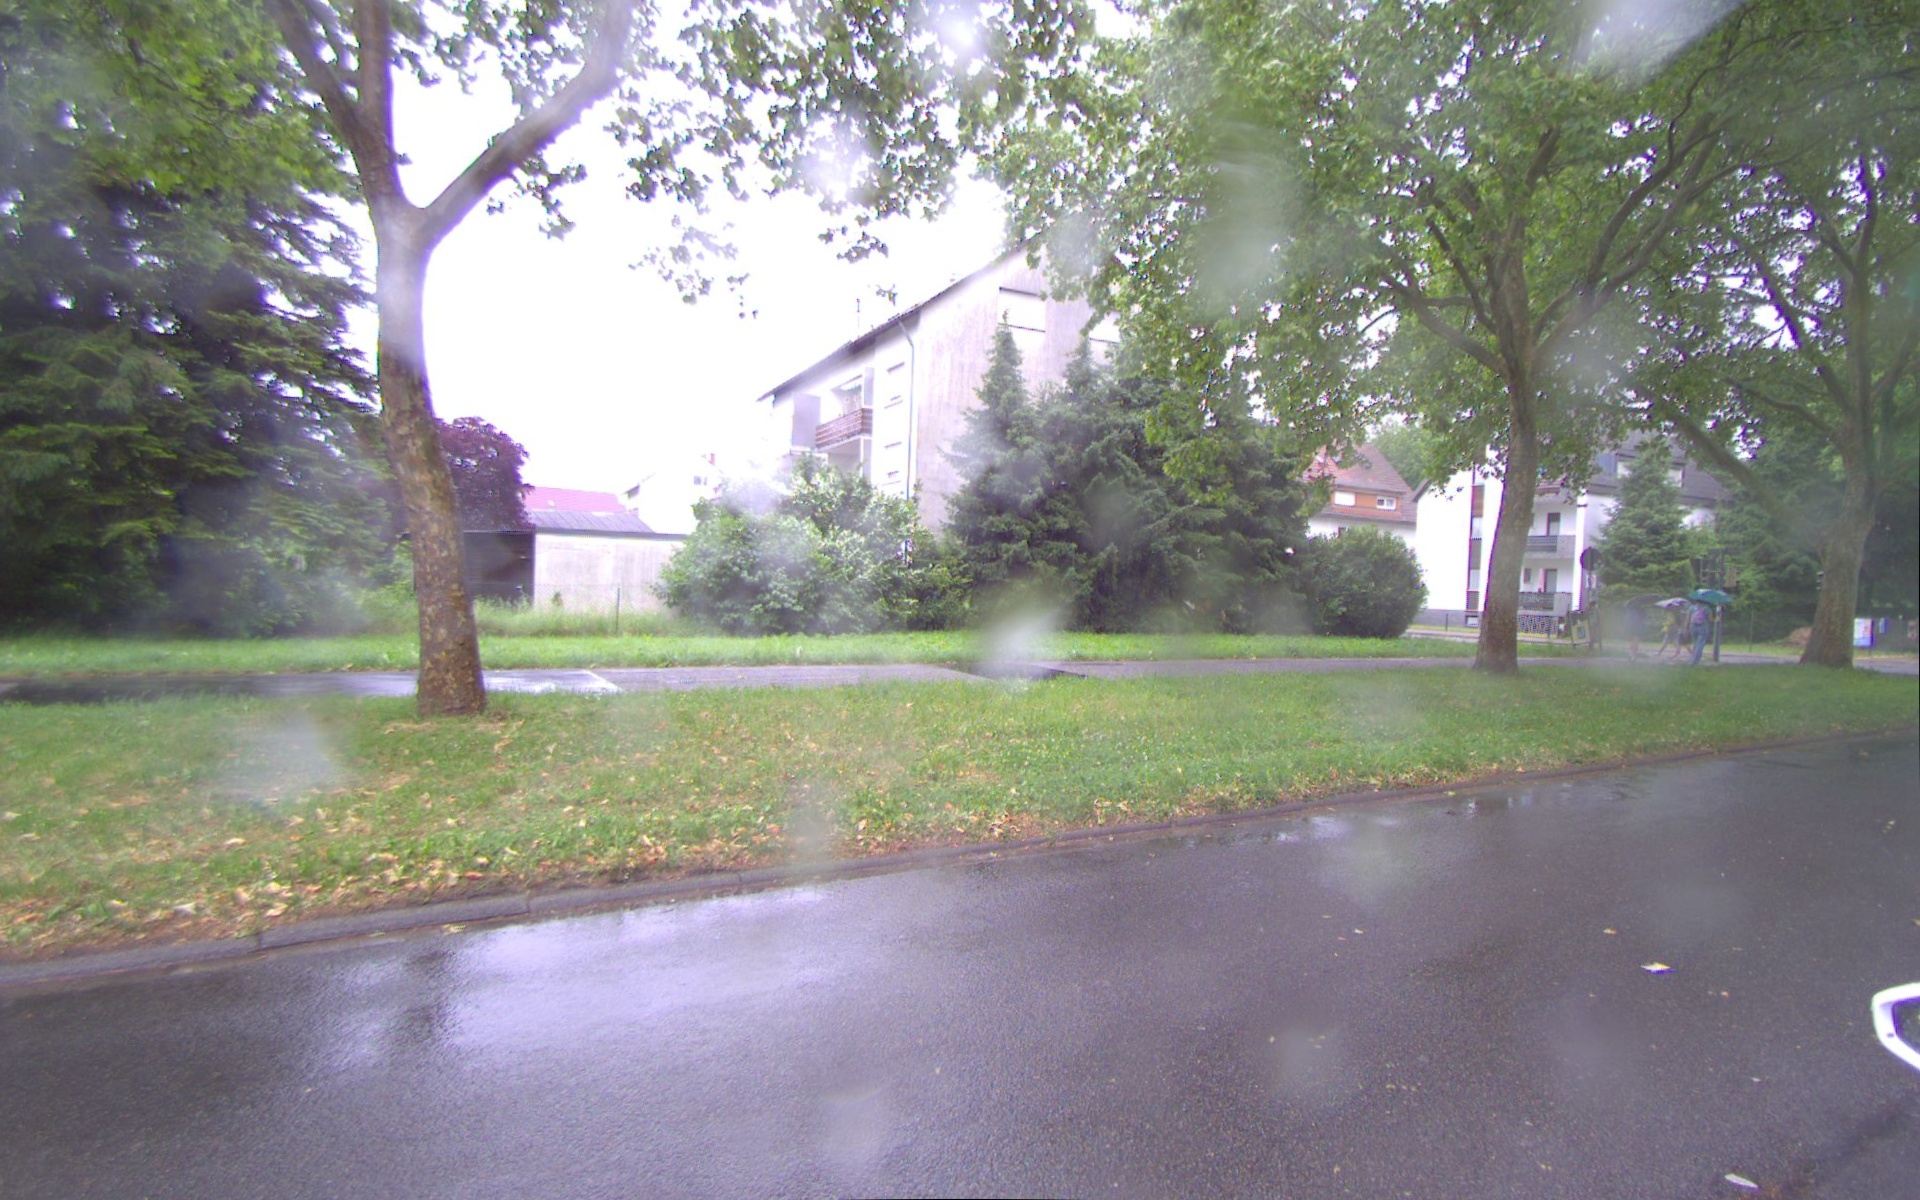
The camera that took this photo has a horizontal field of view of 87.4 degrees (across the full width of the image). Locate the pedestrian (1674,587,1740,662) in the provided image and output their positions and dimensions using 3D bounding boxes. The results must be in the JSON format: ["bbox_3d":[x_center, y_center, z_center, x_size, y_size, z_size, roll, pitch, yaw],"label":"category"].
[{"bbox_3d":[18.158,0.579,24.426,0.828,1.789,1.028,1,1,-30],"label":"pedestrian"}]

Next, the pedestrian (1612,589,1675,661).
[{"bbox_3d":[17.413,0.622,25.614,0.869,1.789,1.028,1,1,-30],"label":"pedestrian"}]

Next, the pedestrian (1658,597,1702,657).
[{"bbox_3d":[21.737,0.803,30.346,0.633,1.768,0.854,1,1,-33],"label":"pedestrian"}]

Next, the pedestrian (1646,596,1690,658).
[{"bbox_3d":[20.885,0.783,29.642,0.633,1.768,0.815,1,1,-33],"label":"pedestrian"}]
